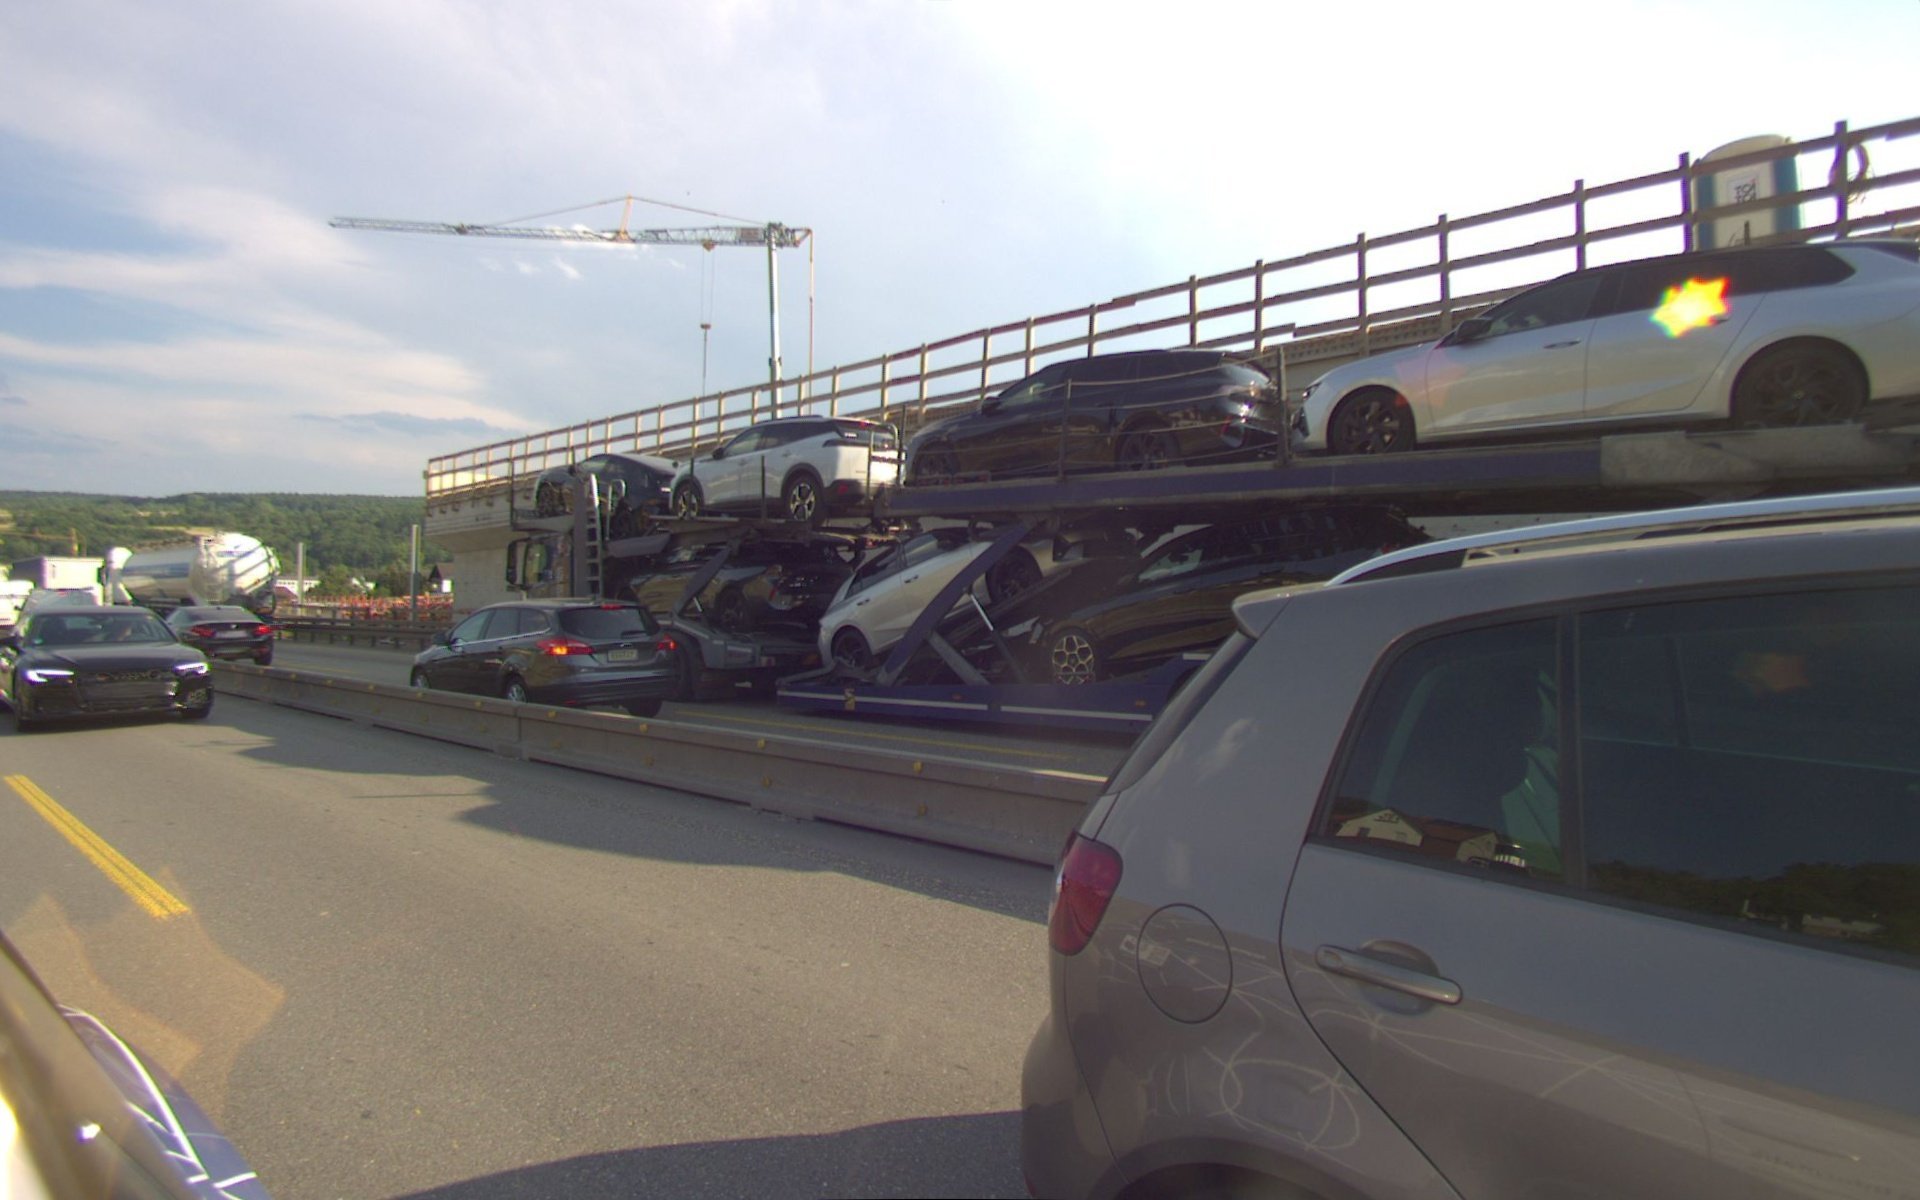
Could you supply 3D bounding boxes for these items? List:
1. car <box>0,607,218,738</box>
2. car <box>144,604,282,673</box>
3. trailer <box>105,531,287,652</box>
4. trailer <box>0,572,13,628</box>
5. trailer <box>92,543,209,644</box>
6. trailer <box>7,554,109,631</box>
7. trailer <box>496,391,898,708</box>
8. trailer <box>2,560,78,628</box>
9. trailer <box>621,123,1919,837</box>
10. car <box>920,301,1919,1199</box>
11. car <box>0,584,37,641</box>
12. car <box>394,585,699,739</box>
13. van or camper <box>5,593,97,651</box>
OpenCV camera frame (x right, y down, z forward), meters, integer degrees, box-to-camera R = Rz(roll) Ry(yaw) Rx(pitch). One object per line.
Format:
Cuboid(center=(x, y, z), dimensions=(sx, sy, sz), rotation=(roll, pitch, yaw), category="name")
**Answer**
Cuboid(center=(-11.363, 0.805, 13.165), dimensions=(4.346, 1.430, 1.849), rotation=(0, -1, 41), category="car")
Cuboid(center=(-17.636, 0.828, 23.818), dimensions=(4.598, 1.456, 1.691), rotation=(0, 0, 42), category="car")
Cuboid(center=(-28.886, -0.277, 37.851), dimensions=(13.434, 3.879, 2.625), rotation=(0, 0, 41), category="trailer")
Cuboid(center=(-77.567, 0.046, 80.171), dimensions=(8.731, 4.315, 2.798), rotation=(0, 0, 41), category="trailer")
Cuboid(center=(-33.618, -0.258, 41.958), dimensions=(6.425, 3.879, 2.625), rotation=(0, 0, 41), category="trailer")
Cuboid(center=(-52.931, -0.380, 59.176), dimensions=(13.770, 4.067, 2.894), rotation=(0, 0, 42), category="trailer")
Cuboid(center=(-4.533, -0.651, 16.406), dimensions=(7.205, 4.061, 2.742), rotation=(0, 0, 41), category="trailer")
Cuboid(center=(-57.869, -0.361, 63.606), dimensions=(6.221, 4.067, 2.894), rotation=(0, 0, 42), category="trailer")
Cuboid(center=(1.780, -0.677, 10.848), dimensions=(15.756, 4.061, 2.742), rotation=(0, 0, 41), category="trailer")
Cuboid(center=(2.083, 0.539, 0.948), dimensions=(4.269, 1.600, 1.663), rotation=(0, 0, 41), category="car")
Cuboid(center=(-46.596, 0.583, 48.858), dimensions=(7.403, 2.642, 1.974), rotation=(0, 0, 39), category="car")
Cuboid(center=(-5.224, 0.638, 12.515), dimensions=(4.337, 1.589, 1.738), rotation=(0, 0, 41), category="car")
Cuboid(center=(-34.365, 0.781, 38.199), dimensions=(5.291, 2.029, 1.839), rotation=(0, 0, 40), category="van or camper")
